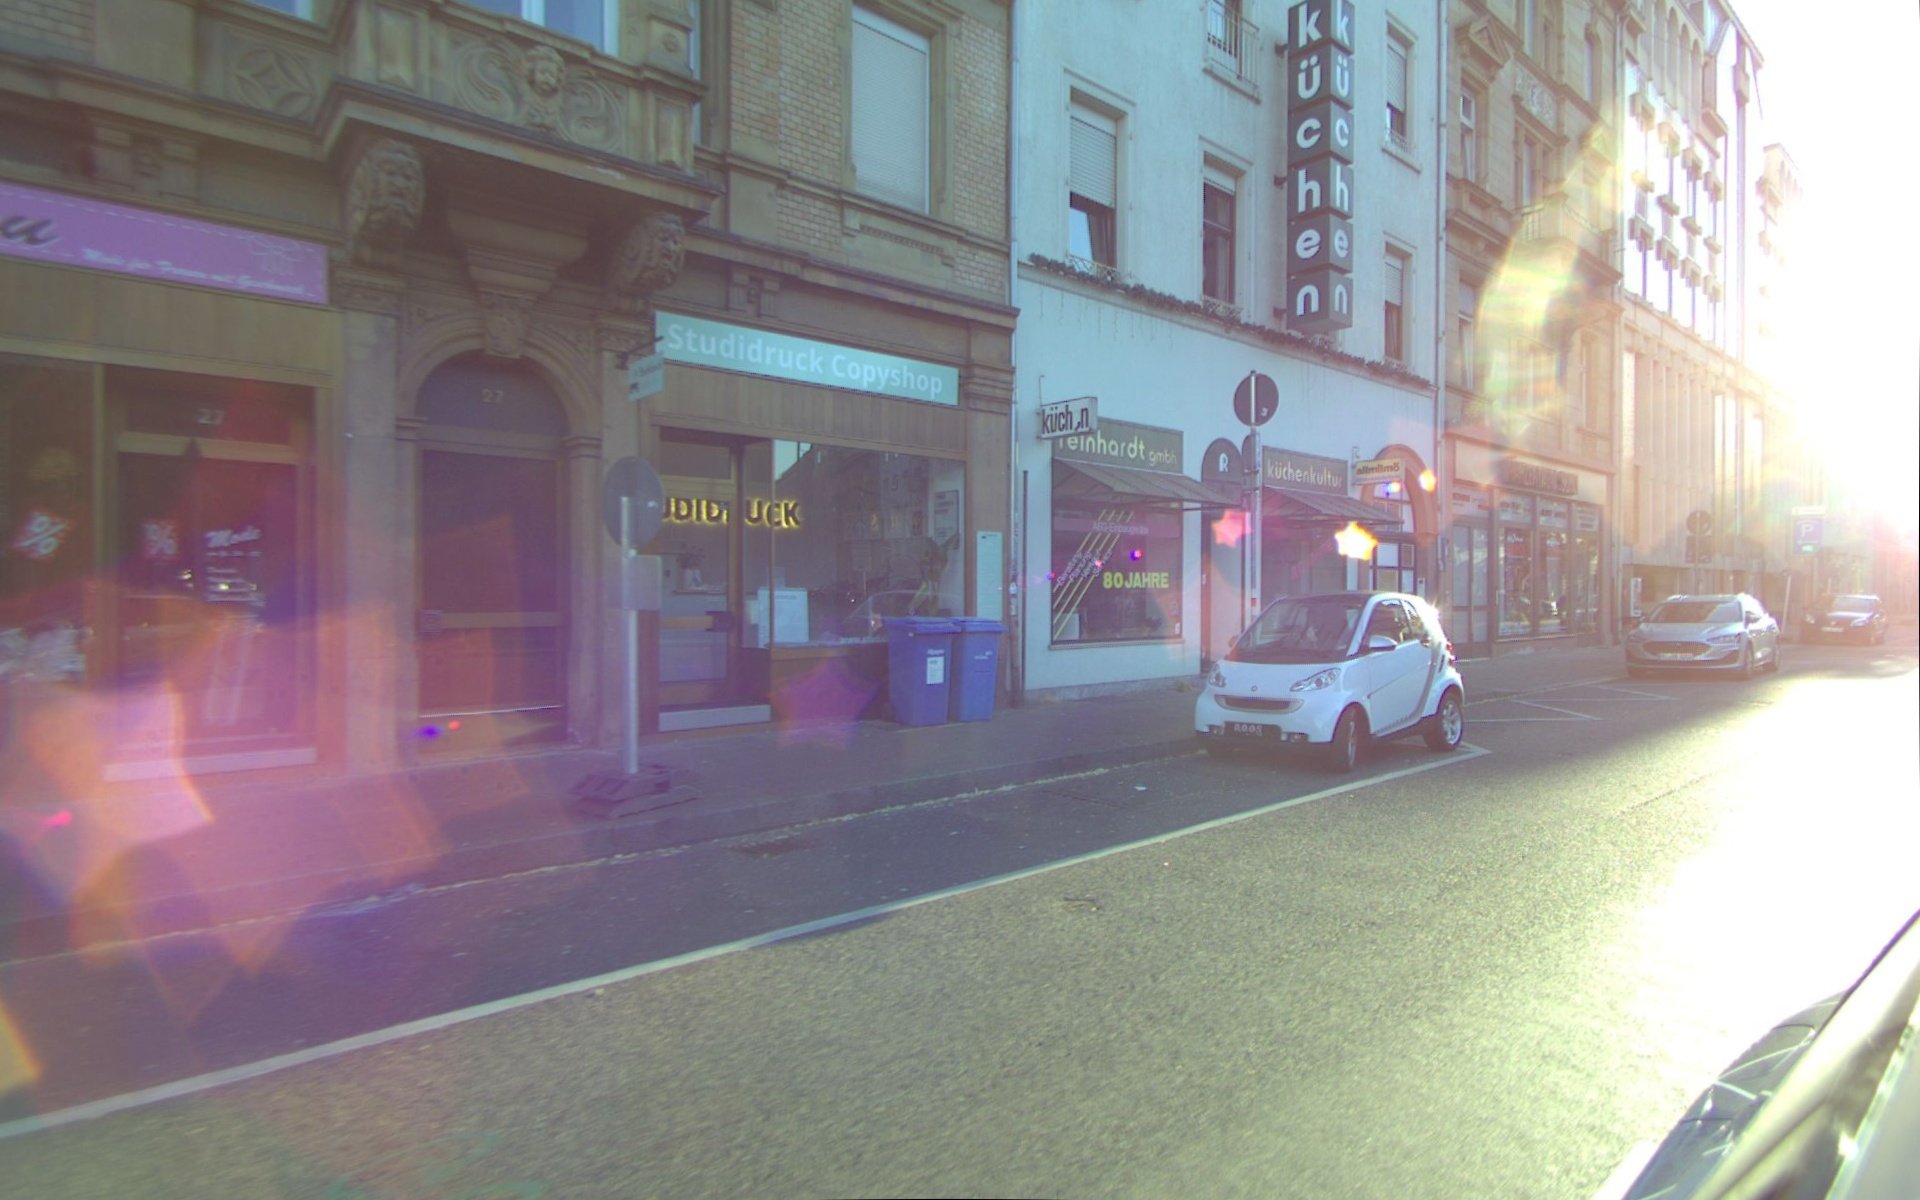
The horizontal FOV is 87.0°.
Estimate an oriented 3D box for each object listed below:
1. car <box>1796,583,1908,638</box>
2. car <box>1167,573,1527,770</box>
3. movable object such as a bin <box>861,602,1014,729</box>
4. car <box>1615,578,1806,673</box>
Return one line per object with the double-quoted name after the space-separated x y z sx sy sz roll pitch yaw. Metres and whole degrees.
27.251 0.289 30.884 3.929 1.539 1.998 0 1 -40 "car"
4.007 0.593 10.182 3.928 1.605 1.703 1 0 -40 "car"
-0.228 0.639 10.610 1.374 1.201 0.868 0 1 -41 "movable object such as a bin"
14.011 0.434 18.786 4.601 1.554 1.996 1 0 -42 "car"
